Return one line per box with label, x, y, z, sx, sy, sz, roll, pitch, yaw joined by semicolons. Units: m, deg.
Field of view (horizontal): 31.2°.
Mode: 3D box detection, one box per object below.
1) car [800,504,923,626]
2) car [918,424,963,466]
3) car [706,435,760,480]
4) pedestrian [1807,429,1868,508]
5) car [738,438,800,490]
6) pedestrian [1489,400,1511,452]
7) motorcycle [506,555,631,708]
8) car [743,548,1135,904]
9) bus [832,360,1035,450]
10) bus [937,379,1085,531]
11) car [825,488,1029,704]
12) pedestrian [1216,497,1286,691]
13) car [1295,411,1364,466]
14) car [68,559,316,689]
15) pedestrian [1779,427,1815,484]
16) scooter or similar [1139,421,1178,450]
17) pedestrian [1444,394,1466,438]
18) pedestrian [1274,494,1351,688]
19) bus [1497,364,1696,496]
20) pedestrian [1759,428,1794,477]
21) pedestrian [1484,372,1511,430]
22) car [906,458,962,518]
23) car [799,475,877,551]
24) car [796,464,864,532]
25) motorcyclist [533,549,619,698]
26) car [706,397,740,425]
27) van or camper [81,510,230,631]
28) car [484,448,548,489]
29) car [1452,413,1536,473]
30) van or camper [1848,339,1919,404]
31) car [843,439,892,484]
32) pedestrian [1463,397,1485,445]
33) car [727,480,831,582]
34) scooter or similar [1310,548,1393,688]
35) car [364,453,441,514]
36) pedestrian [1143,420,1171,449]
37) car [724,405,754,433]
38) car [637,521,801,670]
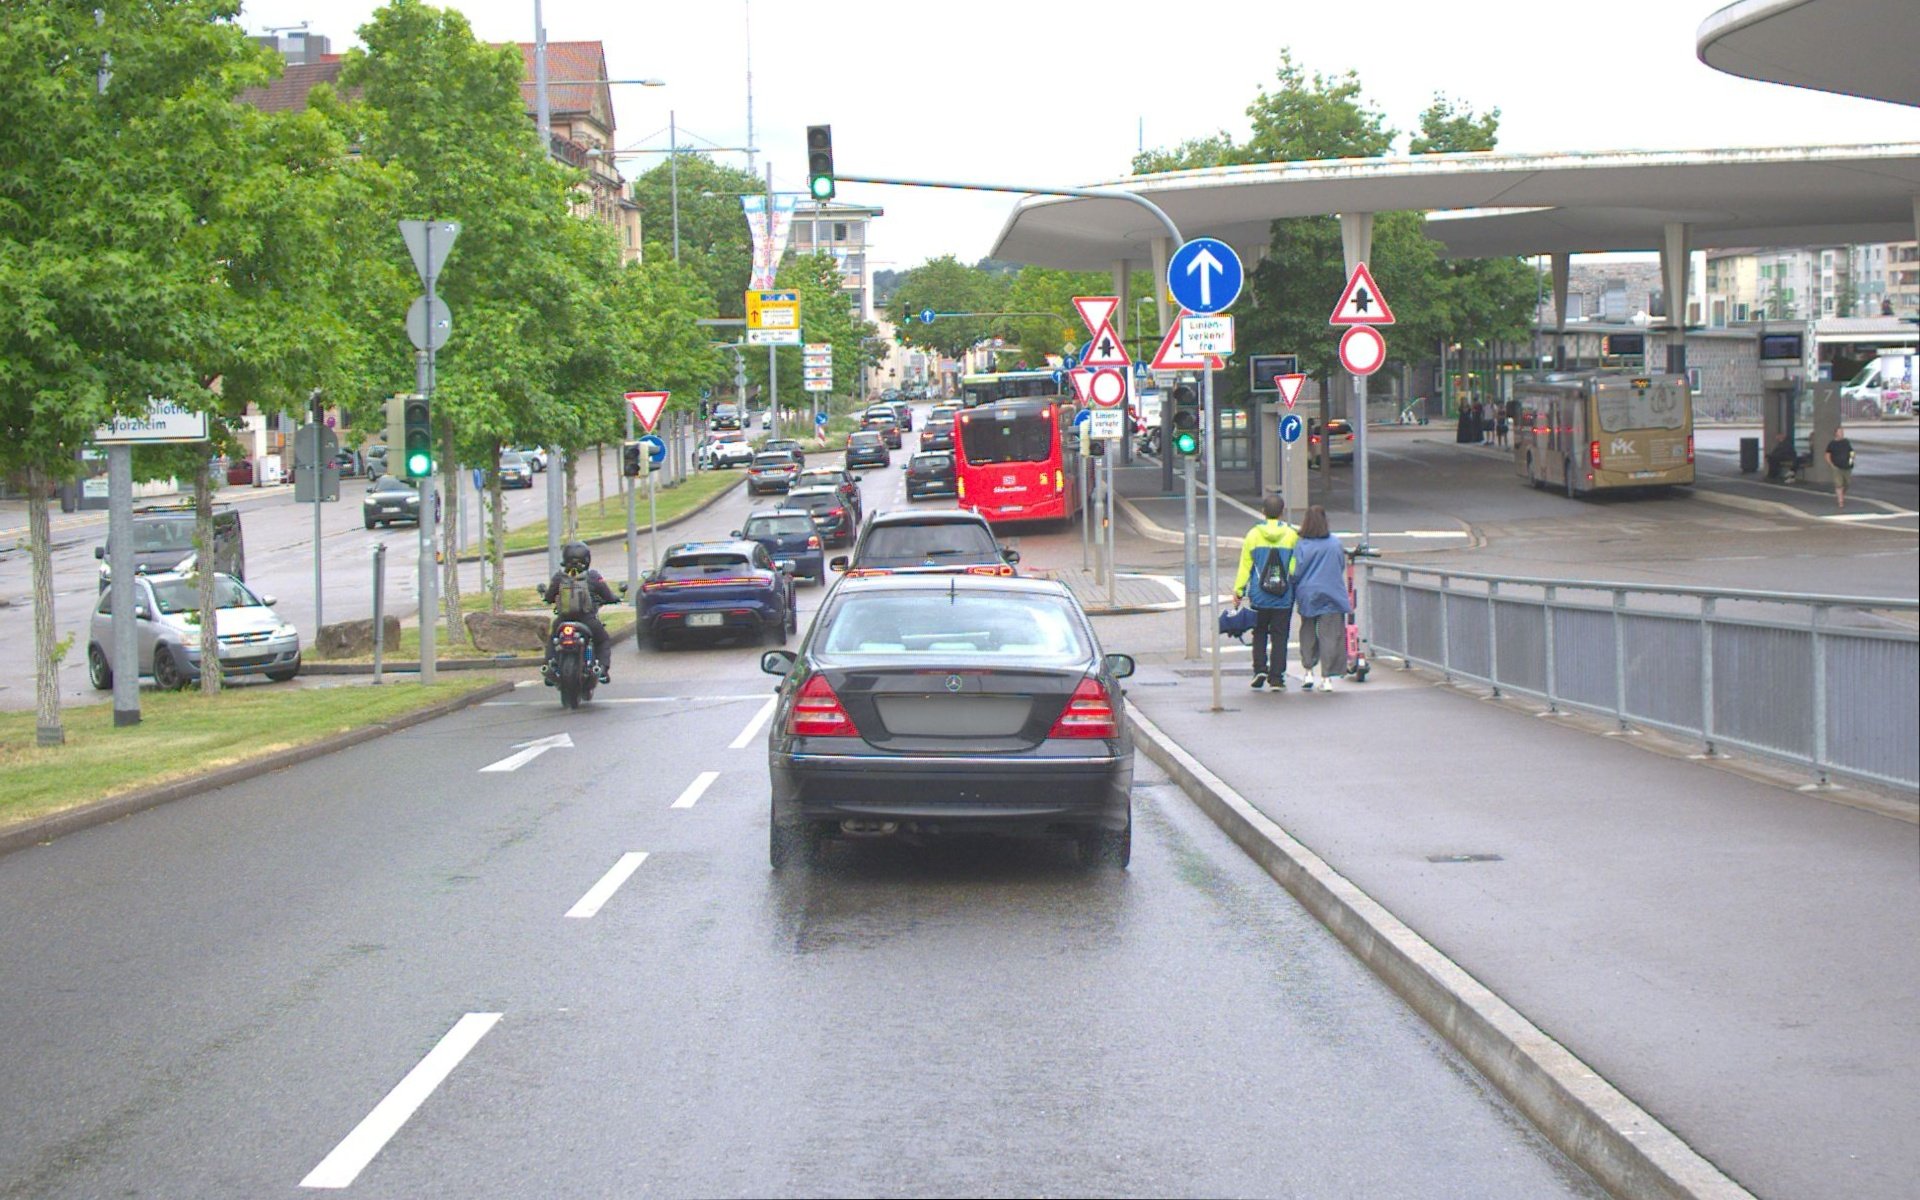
car;-1.522;-0.588;54.484;1.741;1.561;3.872;-4;4;0
car;-0.833;-6.567;145.942;1.865;1.678;4.000;1;1;-1
car;-9.706;-6.063;146.799;1.641;1.798;3.641;1;0;-14
pedestrian;19.169;-2.874;75.124;0.717;1.678;1.021;-6;4;-26
car;-6.454;-4.593;116.481;1.865;1.678;4.000;1;1;-1
pedestrian;17.973;-5.785;114.438;0.560;1.686;0.614;-2;4;-7
motorcycle;-3.723;0.281;32.850;0.793;1.257;1.855;-4;4;4
car;-0.111;0.521;17.224;1.697;1.457;4.304;-1;2;-1
bus;-1.392;-9.354;165.710;2.839;3.973;11.860;-5;5;-39
bus;1.251;-3.728;85.788;3.286;3.280;10.880;-3;4;1
car;-0.347;-0.120;37.694;1.957;1.869;4.875;-4;4;0
pedestrian;2.526;-0.055;29.871;0.522;1.664;0.580;-1;1;-1
car;12.205;-5.356;113.758;1.711;1.656;4.241;-1;4;-1
car;-9.617;0.260;42.884;1.632;1.443;3.876;-5;3;-34
pedestrian;20.994;-3.633;86.220;0.793;1.373;0.633;-1;4;17
scooter or similar;7.205;-5.976;124.759;1.243;1.009;0.764;-1;3;14
pedestrian;17.979;-6.670;124.869;0.580;1.573;0.560;2;0;30
pedestrian;3.057;-0.074;29.852;0.589;1.665;0.580;1;-1;-1
bus;16.311;-4.521;89.000;2.721;3.032;12.092;-3;4;0
pedestrian;20.998;-3.793;88.425;0.793;1.222;0.633;-1;4;17
pedestrian;18.962;-7.010;121.257;0.724;2.007;0.669;1;0;26
car;-0.782;-3.456;105.827;1.575;1.561;3.872;-4;4;0
car;-2.882;-2.078;81.726;1.575;1.499;3.872;-4;4;1
car;-3.493;-2.779;92.962;1.575;1.561;3.872;-4;4;0
motorcyclist;-3.671;0.220;32.921;0.641;1.342;0.689;-3;4;3
car;-14.567;-11.623;211.349;1.780;1.561;3.431;-4;4;0
van or camper;-15.218;-0.555;65.269;2.216;2.065;5.285;-4;1;-9
car;-18.275;-5.433;141.690;1.847;1.499;4.920;-2;4;1
car;14.628;-4.320;94.329;1.647;1.447;3.239;-3;4;-2
van or camper;38.911;-9.331;140.568;4.607;2.549;2.119;1;2;-1
car;-3.646;-5.470;136.162;1.865;1.678;4.000;1;1;-1
pedestrian;18.652;-6.507;124.800;0.580;1.710;0.560;2;0;35
car;-3.428;-1.340;65.752;1.676;1.617;3.872;-4;4;0
scooter or similar;3.534;0.150;31.134;0.463;1.217;1.859;-2;1;-1
car;-17.774;-3.739;109.764;1.908;1.656;4.860;-2;5;-4
pedestrian;7.152;-5.998;124.706;0.914;0.981;0.633;-1;0;14
car;-13.952;-11.445;217.209;1.575;1.561;3.431;-4;4;0
car;-3.219;-0.107;46.655;1.816;1.565;4.405;-4;4;0
